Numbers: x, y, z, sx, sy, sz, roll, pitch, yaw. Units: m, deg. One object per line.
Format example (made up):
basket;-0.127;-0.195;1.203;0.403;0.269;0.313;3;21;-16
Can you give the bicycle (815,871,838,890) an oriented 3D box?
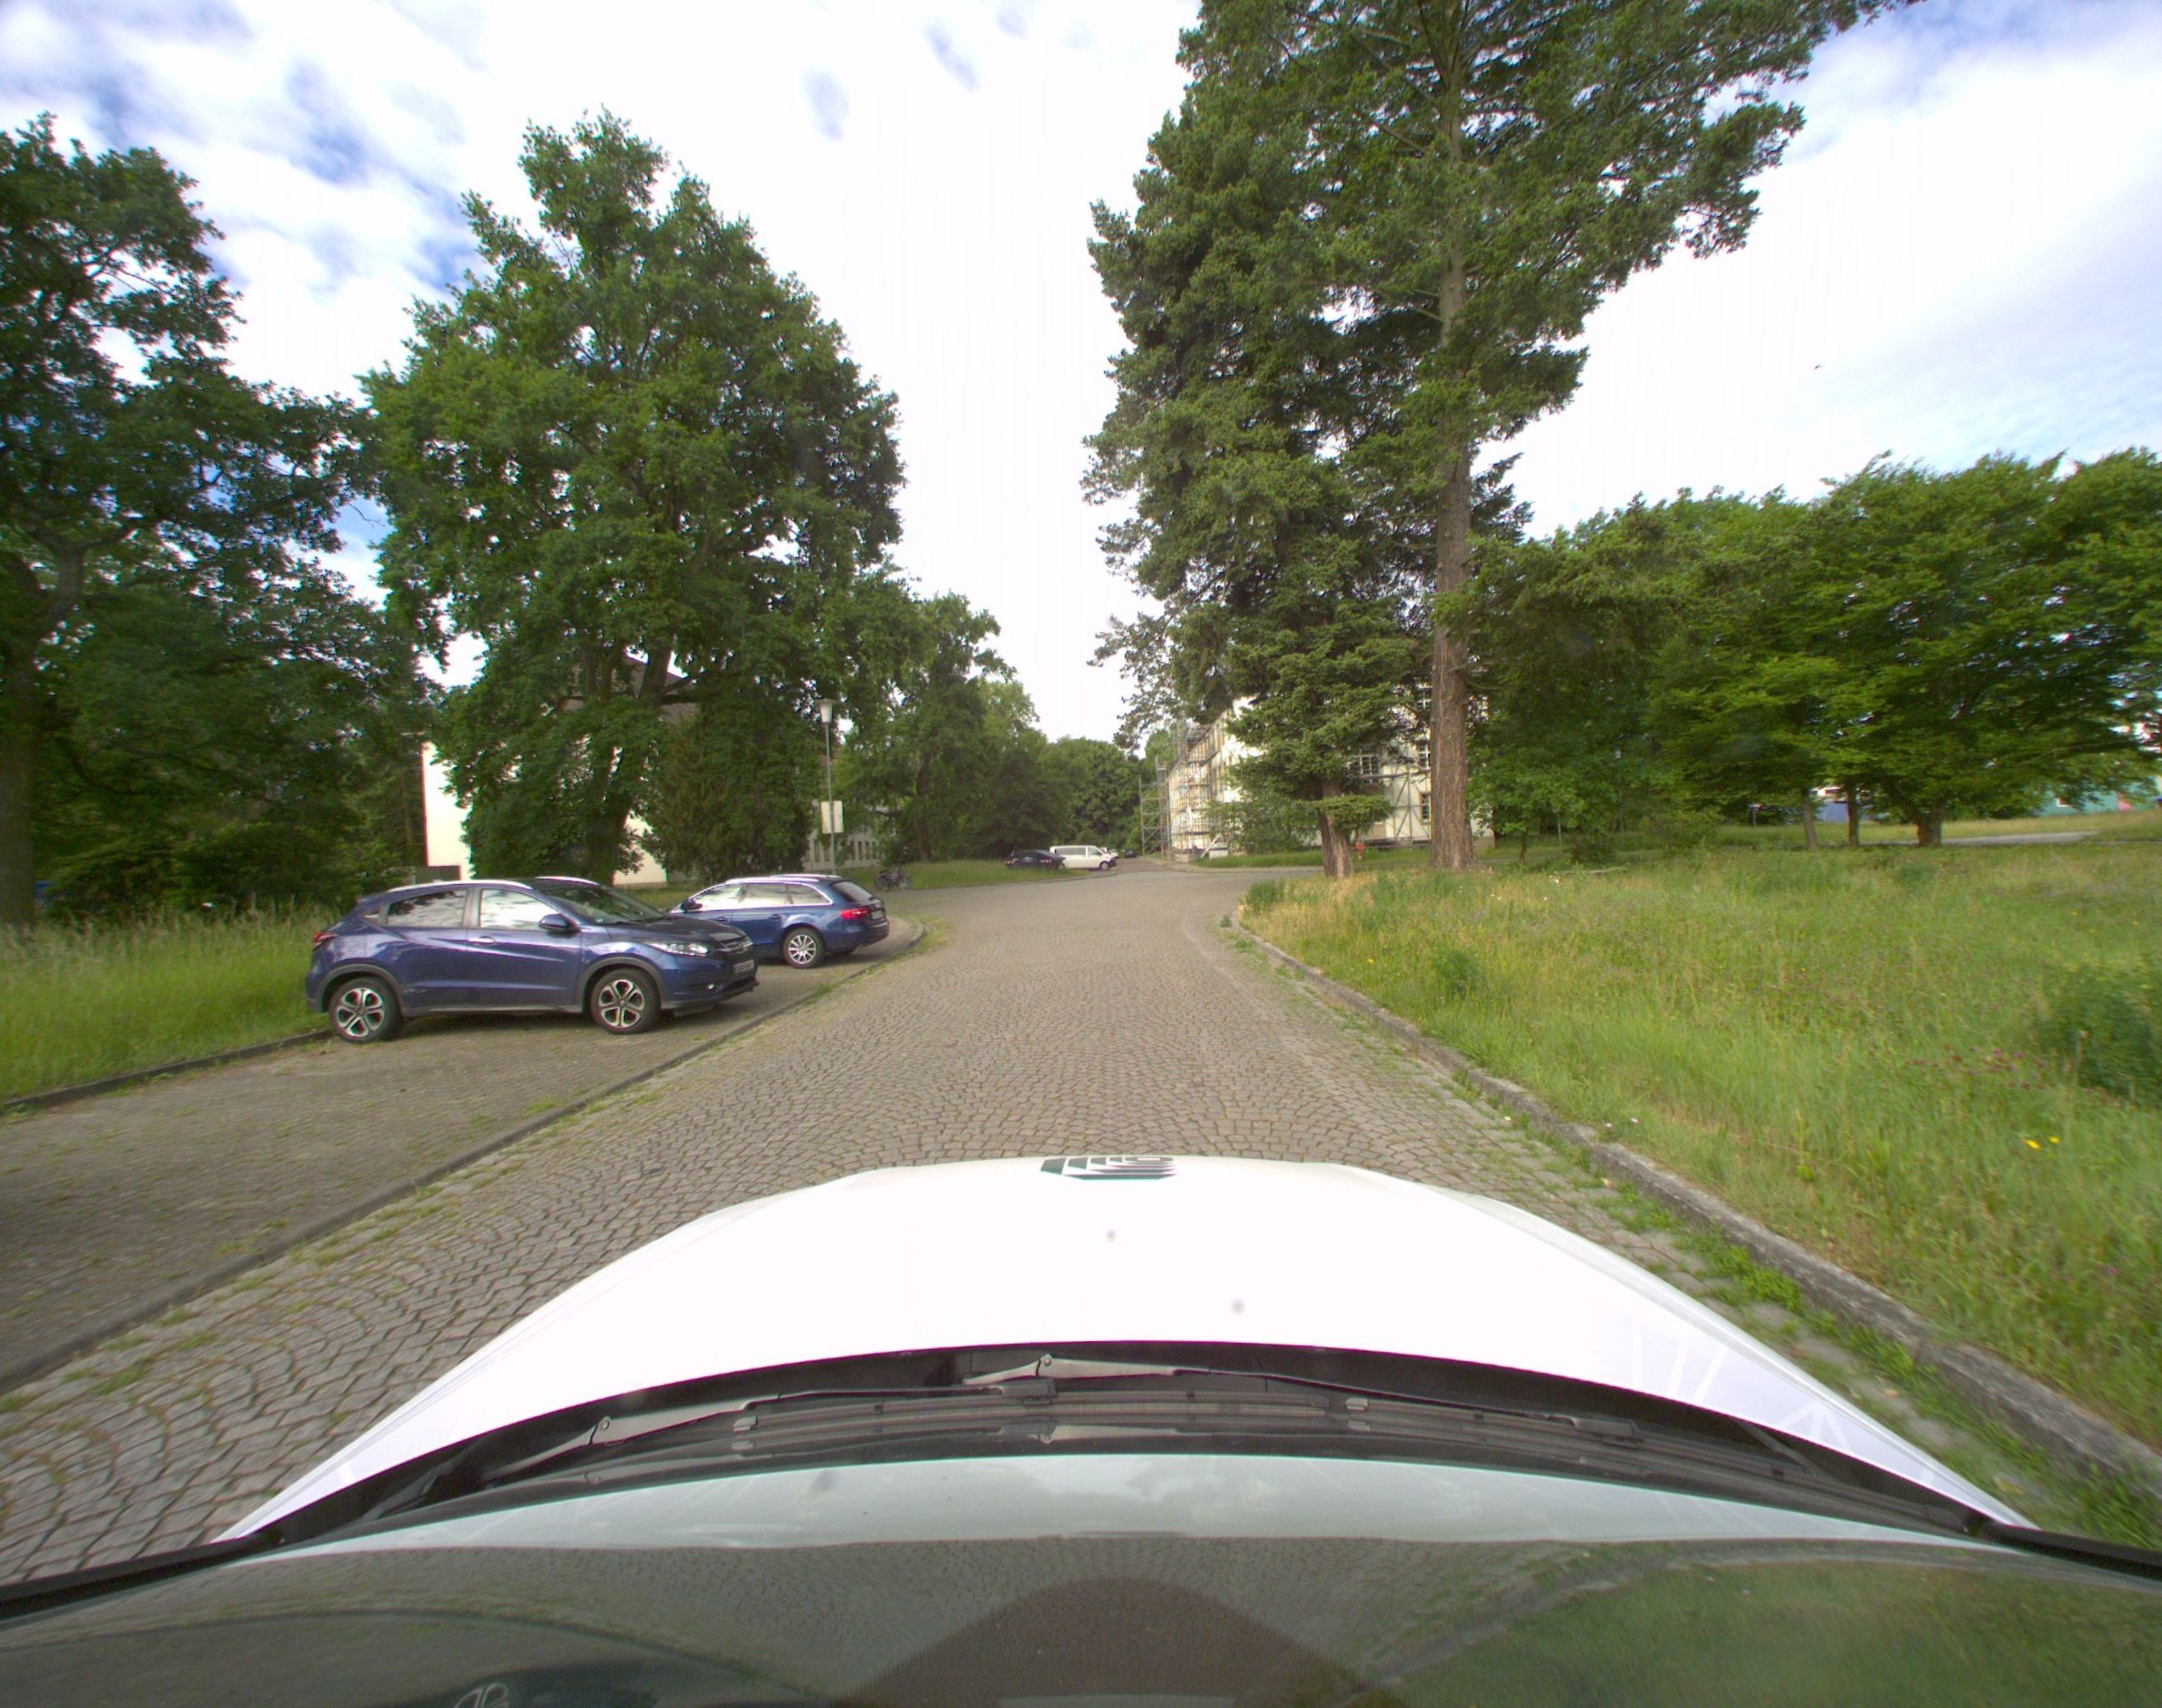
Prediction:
bicycle;-15.158;1.601;48.496;1.262;1.029;0.431;-4;-2;-17

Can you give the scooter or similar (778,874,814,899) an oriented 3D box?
scooter or similar;-14.651;1.665;41.866;1.540;1.195;0.683;-4;1;5

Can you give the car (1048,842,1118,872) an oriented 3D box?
car;0.197;0.217;62.436;5.182;2.060;2.188;-2;0;1

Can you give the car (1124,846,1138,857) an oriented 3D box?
car;7.853;-0.397;128.546;2.054;1.593;4.005;0;-1;5

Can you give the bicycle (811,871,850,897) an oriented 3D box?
bicycle;-13.123;1.568;42.642;1.900;1.222;0.640;-3;2;-17

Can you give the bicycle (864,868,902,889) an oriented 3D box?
bicycle;-11.130;1.378;45.785;1.959;1.004;0.682;-5;3;-17

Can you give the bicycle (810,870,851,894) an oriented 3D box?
bicycle;-13.309;1.485;43.287;1.990;1.114;0.640;-3;2;-17

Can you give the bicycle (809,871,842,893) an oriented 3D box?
bicycle;-14.021;1.531;44.682;1.634;1.073;0.535;-4;2;-28

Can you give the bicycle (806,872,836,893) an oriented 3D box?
bicycle;-14.663;1.590;45.912;1.520;1.035;0.540;-4;2;-28

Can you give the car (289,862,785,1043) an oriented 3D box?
car;-5.668;0.976;8.885;4.124;1.573;1.790;-3;-1;0

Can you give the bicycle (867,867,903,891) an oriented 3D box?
bicycle;-10.674;1.353;44.324;1.798;1.103;0.698;-5;3;-17

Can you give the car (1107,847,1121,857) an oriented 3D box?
car;5.215;-0.277;128.350;1.995;1.548;3.957;0;-1;-1

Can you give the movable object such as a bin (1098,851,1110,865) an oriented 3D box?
movable object such as a bin;2.302;0.439;81.961;1.179;1.407;0.976;0;-1;2

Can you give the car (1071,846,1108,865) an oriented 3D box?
car;0.914;0.184;90.053;3.977;2.014;1.920;0;-1;-2

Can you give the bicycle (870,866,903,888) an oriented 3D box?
bicycle;-11.354;1.341;47.580;1.775;1.105;0.538;-5;3;-17

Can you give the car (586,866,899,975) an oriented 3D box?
car;-5.456;1.051;13.496;4.414;1.479;1.683;-2;0;2

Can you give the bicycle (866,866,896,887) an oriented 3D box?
bicycle;-11.911;1.347;48.555;1.620;1.058;0.524;-5;3;-17

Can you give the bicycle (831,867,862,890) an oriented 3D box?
bicycle;-13.604;1.400;47.209;1.646;1.185;0.570;-3;2;-24

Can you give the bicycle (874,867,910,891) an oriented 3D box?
bicycle;-10.166;1.344;43.725;1.772;1.103;0.698;-5;3;-17

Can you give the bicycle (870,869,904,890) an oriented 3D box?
bicycle;-10.731;1.387;45.054;1.695;1.001;0.628;-5;3;-17
